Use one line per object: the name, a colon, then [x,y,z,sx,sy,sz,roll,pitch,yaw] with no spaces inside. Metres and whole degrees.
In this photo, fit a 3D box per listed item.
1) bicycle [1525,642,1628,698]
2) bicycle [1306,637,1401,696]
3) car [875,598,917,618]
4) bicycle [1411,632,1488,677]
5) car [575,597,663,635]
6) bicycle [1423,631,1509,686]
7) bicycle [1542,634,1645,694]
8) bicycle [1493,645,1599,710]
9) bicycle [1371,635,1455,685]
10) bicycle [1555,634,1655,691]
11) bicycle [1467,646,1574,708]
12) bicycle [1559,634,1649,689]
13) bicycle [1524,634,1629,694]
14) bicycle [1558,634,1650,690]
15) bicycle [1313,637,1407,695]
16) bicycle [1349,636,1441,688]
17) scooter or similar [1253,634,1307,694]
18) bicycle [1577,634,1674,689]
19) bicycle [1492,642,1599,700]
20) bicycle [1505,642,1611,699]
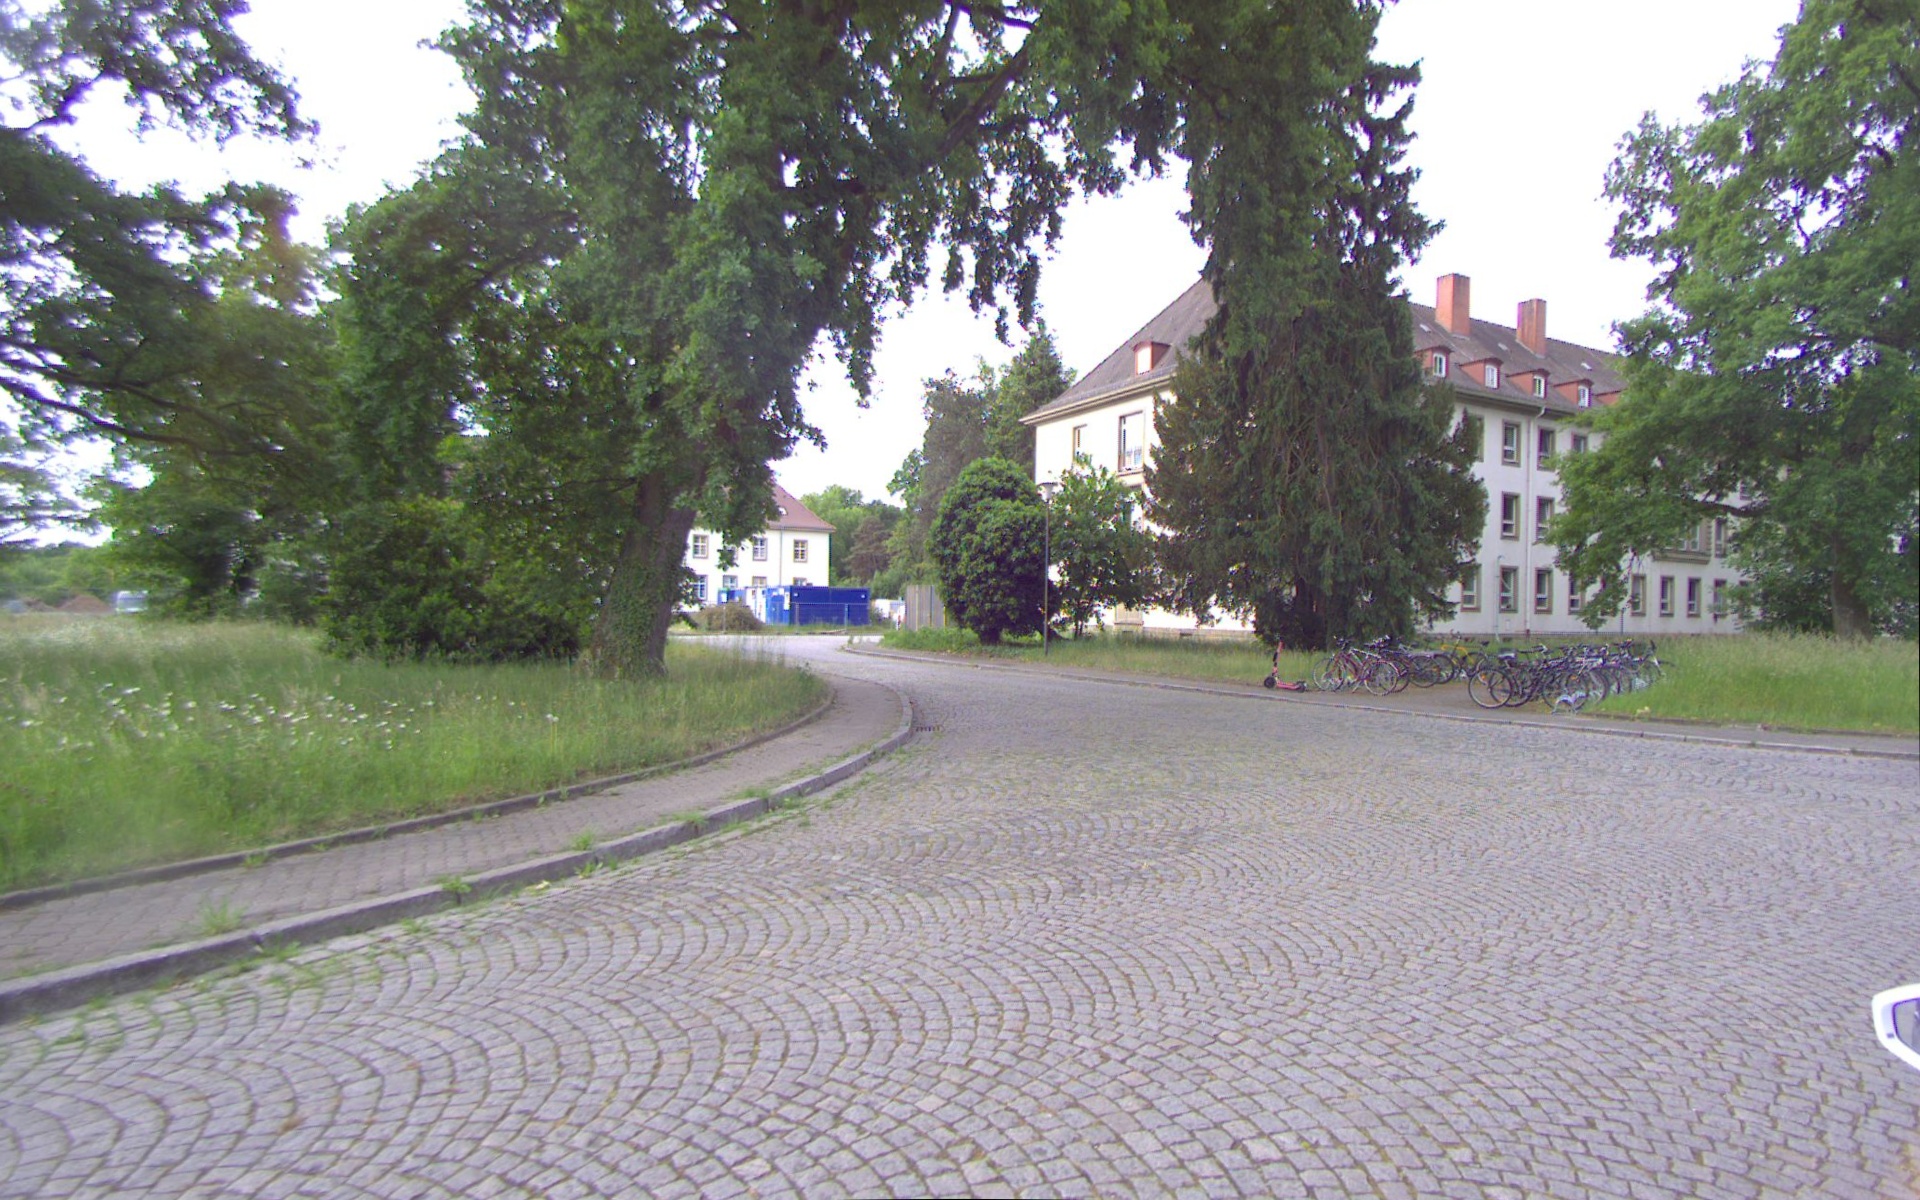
bicycle: [11.926,1.334,19.466,0.475,1.021,1.645,2,-2,-45]
bicycle: [8.186,1.358,20.938,1.745,1.129,0.548,0,-1,44]
car: [-6.685,0.822,105.082,1.732,2.070,5.411,0,0,29]
bicycle: [12.404,1.365,25.471,0.547,1.055,1.662,2,-1,-43]
car: [-22.268,1.065,65.617,5.214,2.375,1.896,1,-1,-28]
bicycle: [11.833,1.353,23.517,0.546,1.186,1.736,1,-1,-37]
bicycle: [12.921,1.284,20.519,1.738,1.126,0.475,1,-1,40]
bicycle: [10.322,1.354,17.741,1.594,1.088,0.477,-1,-2,31]
bicycle: [10.602,1.387,23.537,1.725,1.079,0.549,1,-1,36]
bicycle: [13.787,1.315,21.496,0.475,1.126,1.742,2,-1,-45]
bicycle: [9.699,1.321,17.420,1.594,1.021,0.477,-1,-2,31]
bicycle: [14.315,1.343,22.363,0.438,1.126,1.633,1,-1,-39]
bicycle: [12.441,1.268,20.296,0.475,1.126,1.742,2,-1,-45]
bicycle: [14.018,1.331,21.891,0.438,1.126,1.633,1,-1,-39]
bicycle: [8.478,1.369,21.337,1.780,1.129,0.548,0,-1,44]
bicycle: [9.717,1.367,22.484,1.796,1.079,0.616,1,-1,36]
scooter or similar: [6.881,1.355,21.606,0.354,1.226,1.127,1,-1,-33]
bicycle: [14.900,1.354,22.527,0.475,1.126,1.742,2,-1,-45]
bicycle: [10.826,1.297,18.623,0.475,1.021,1.645,2,-2,-45]
bicycle: [11.301,1.313,19.017,0.475,1.021,1.645,2,-2,-45]
